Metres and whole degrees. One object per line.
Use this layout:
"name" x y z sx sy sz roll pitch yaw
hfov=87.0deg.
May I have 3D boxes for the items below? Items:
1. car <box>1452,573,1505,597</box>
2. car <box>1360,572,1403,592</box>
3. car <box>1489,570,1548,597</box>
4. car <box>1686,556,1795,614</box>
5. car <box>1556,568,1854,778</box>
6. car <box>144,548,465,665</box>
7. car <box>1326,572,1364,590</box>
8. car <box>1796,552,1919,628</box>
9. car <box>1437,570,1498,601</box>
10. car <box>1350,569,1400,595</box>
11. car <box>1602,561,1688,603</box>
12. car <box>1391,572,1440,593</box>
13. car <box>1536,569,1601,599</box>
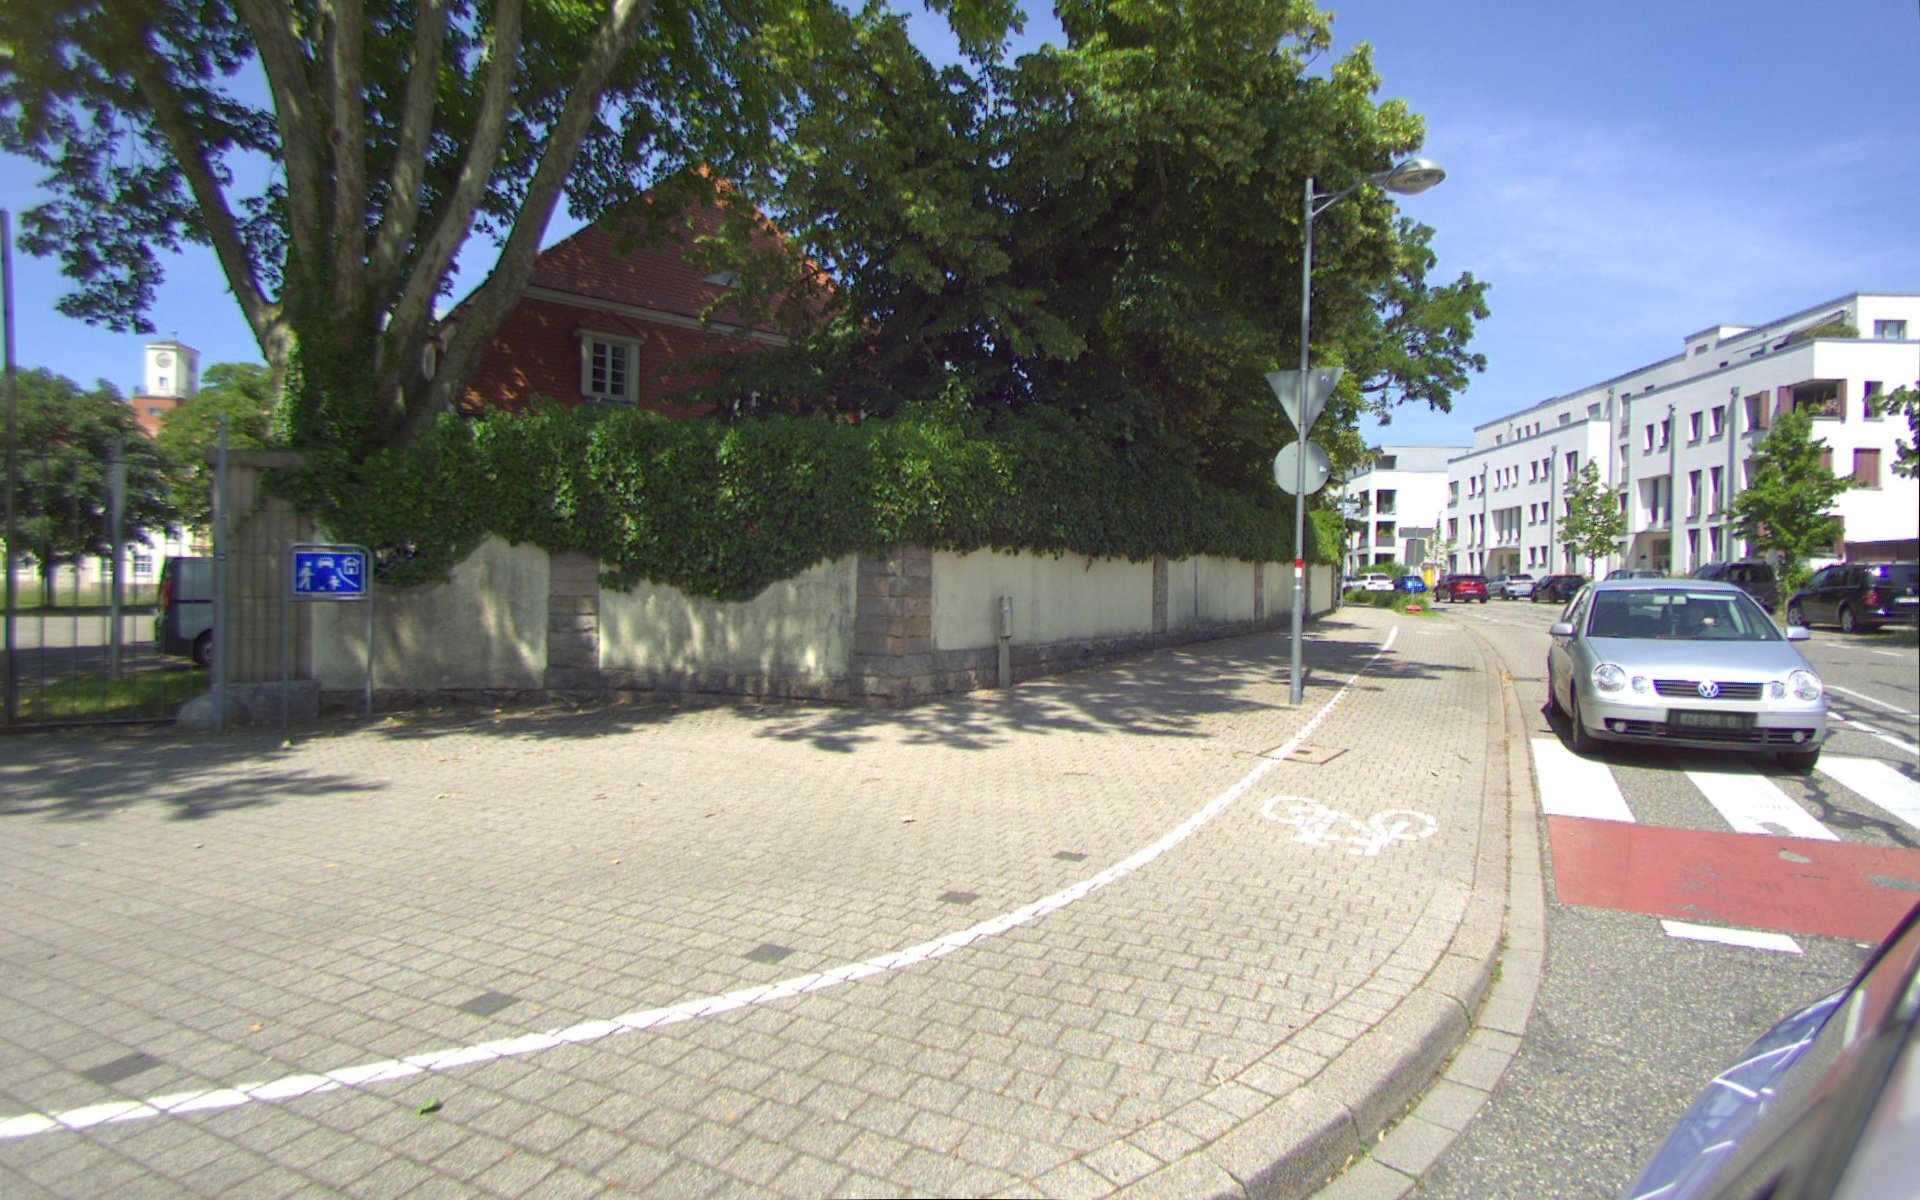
"car" 31.267 -0.932 61.139 1.678 1.431 3.714 0 2 8
"car" 32.160 -1.396 77.367 1.674 1.431 3.723 -1 2 -1
"car" 30.432 -0.932 55.260 1.680 1.431 3.711 0 2 10
"car" 24.549 -0.491 31.958 1.678 1.721 3.605 0 2 20
"car" 6.478 0.451 9.230 1.593 1.469 3.962 0 2 28
"car" -12.077 0.038 18.864 4.782 1.910 1.973 -2 2 -42
"car" 31.844 -1.607 83.832 1.674 1.431 3.723 -1 2 -1
"car" 21.607 -0.276 23.843 1.678 1.657 3.996 0 2 20
"car" 25.946 -0.771 51.885 1.728 1.523 3.981 0 1 10
"car" 27.607 -1.212 67.445 1.784 1.628 4.117 0 2 4
"car" 27.603 -0.738 40.915 1.765 1.609 3.611 0 2 15
"car" 32.213 -1.284 71.662 1.674 1.431 3.723 -1 2 -1
"car" 29.496 -0.801 49.175 1.681 1.431 3.614 0 2 13
